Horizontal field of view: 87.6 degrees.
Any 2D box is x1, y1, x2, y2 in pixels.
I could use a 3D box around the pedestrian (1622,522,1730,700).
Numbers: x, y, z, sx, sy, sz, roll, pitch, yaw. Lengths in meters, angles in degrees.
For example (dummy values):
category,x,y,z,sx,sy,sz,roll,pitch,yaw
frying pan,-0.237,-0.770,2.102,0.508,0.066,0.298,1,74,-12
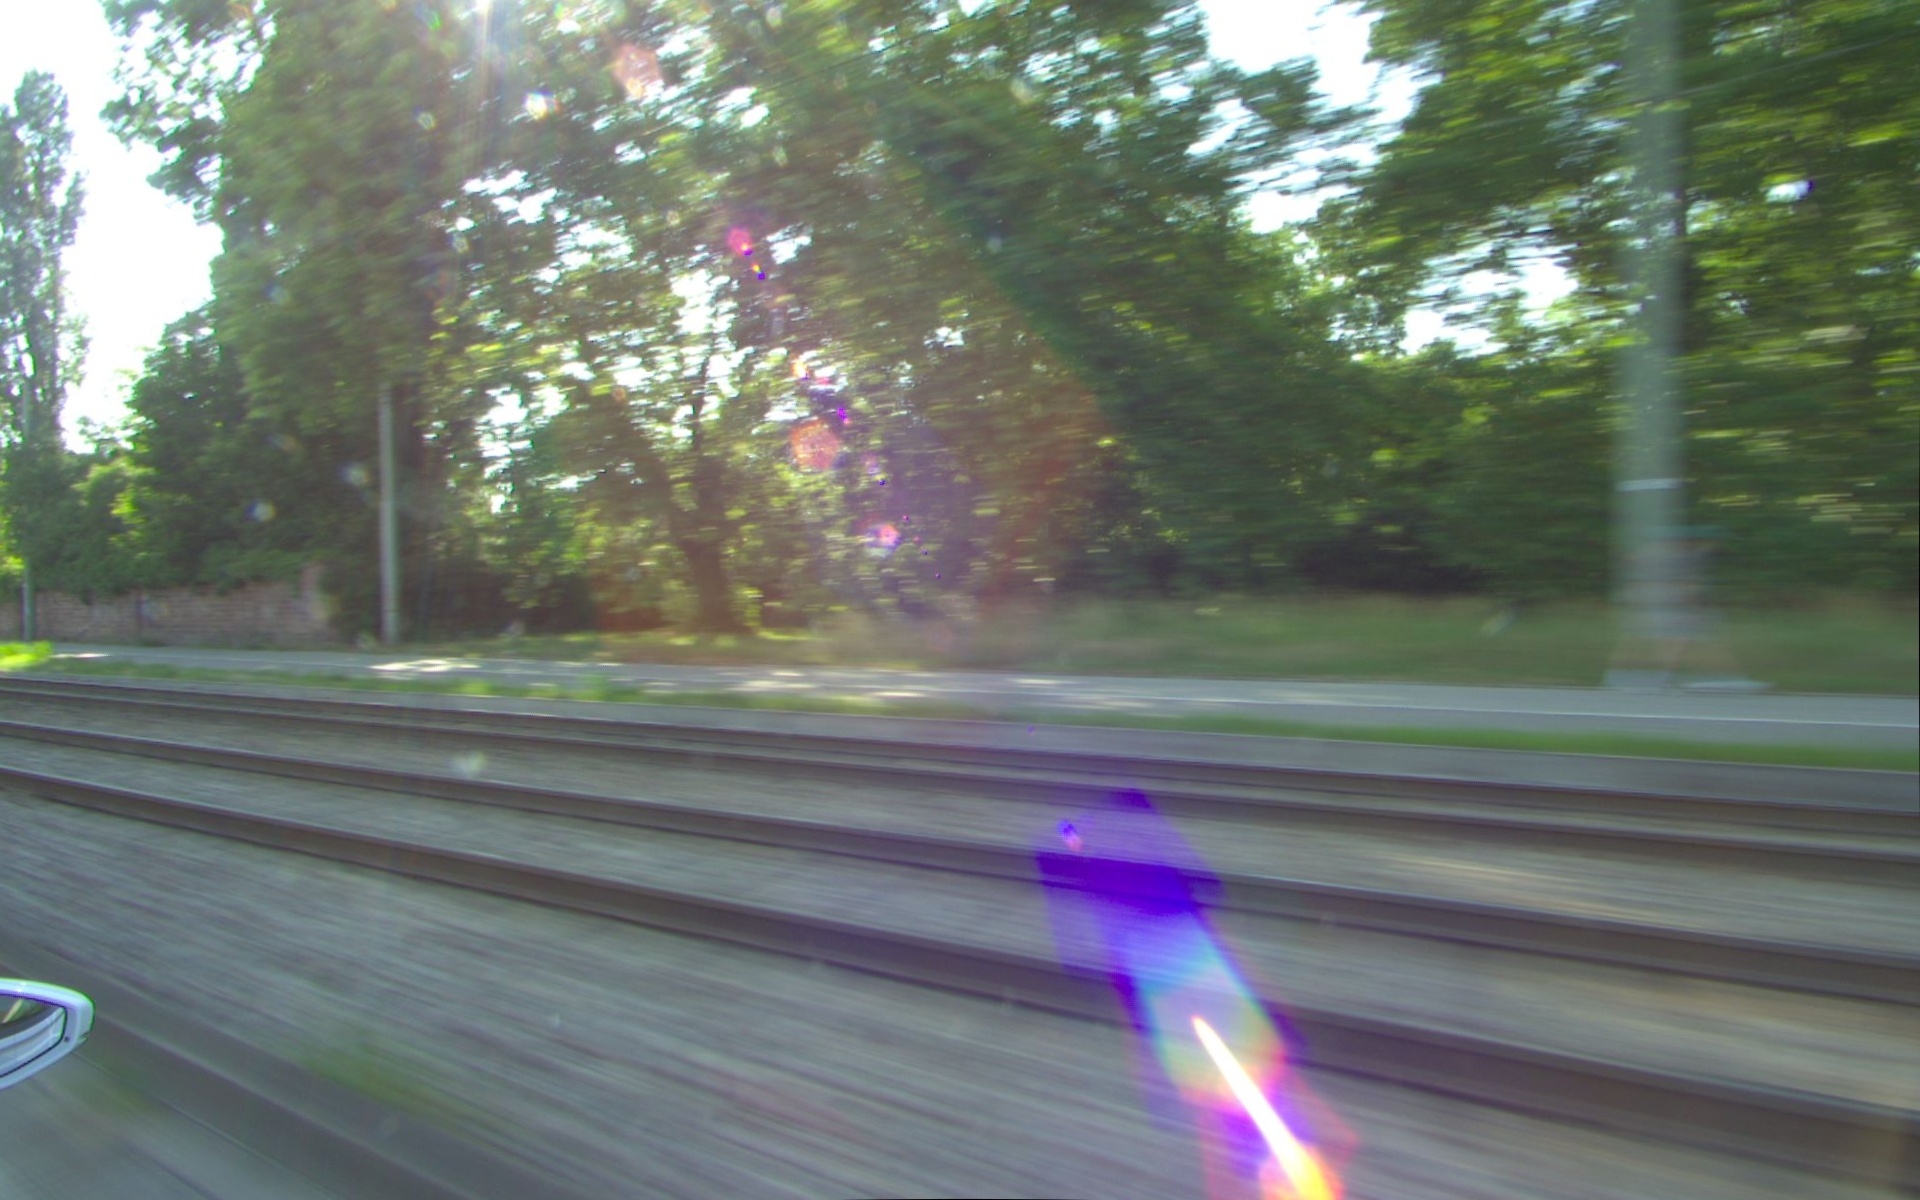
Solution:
category,x,y,z,sx,sy,sz,roll,pitch,yaw
pedestrian,7.332,0.106,10.275,0.874,1.739,0.498,0,2,37
